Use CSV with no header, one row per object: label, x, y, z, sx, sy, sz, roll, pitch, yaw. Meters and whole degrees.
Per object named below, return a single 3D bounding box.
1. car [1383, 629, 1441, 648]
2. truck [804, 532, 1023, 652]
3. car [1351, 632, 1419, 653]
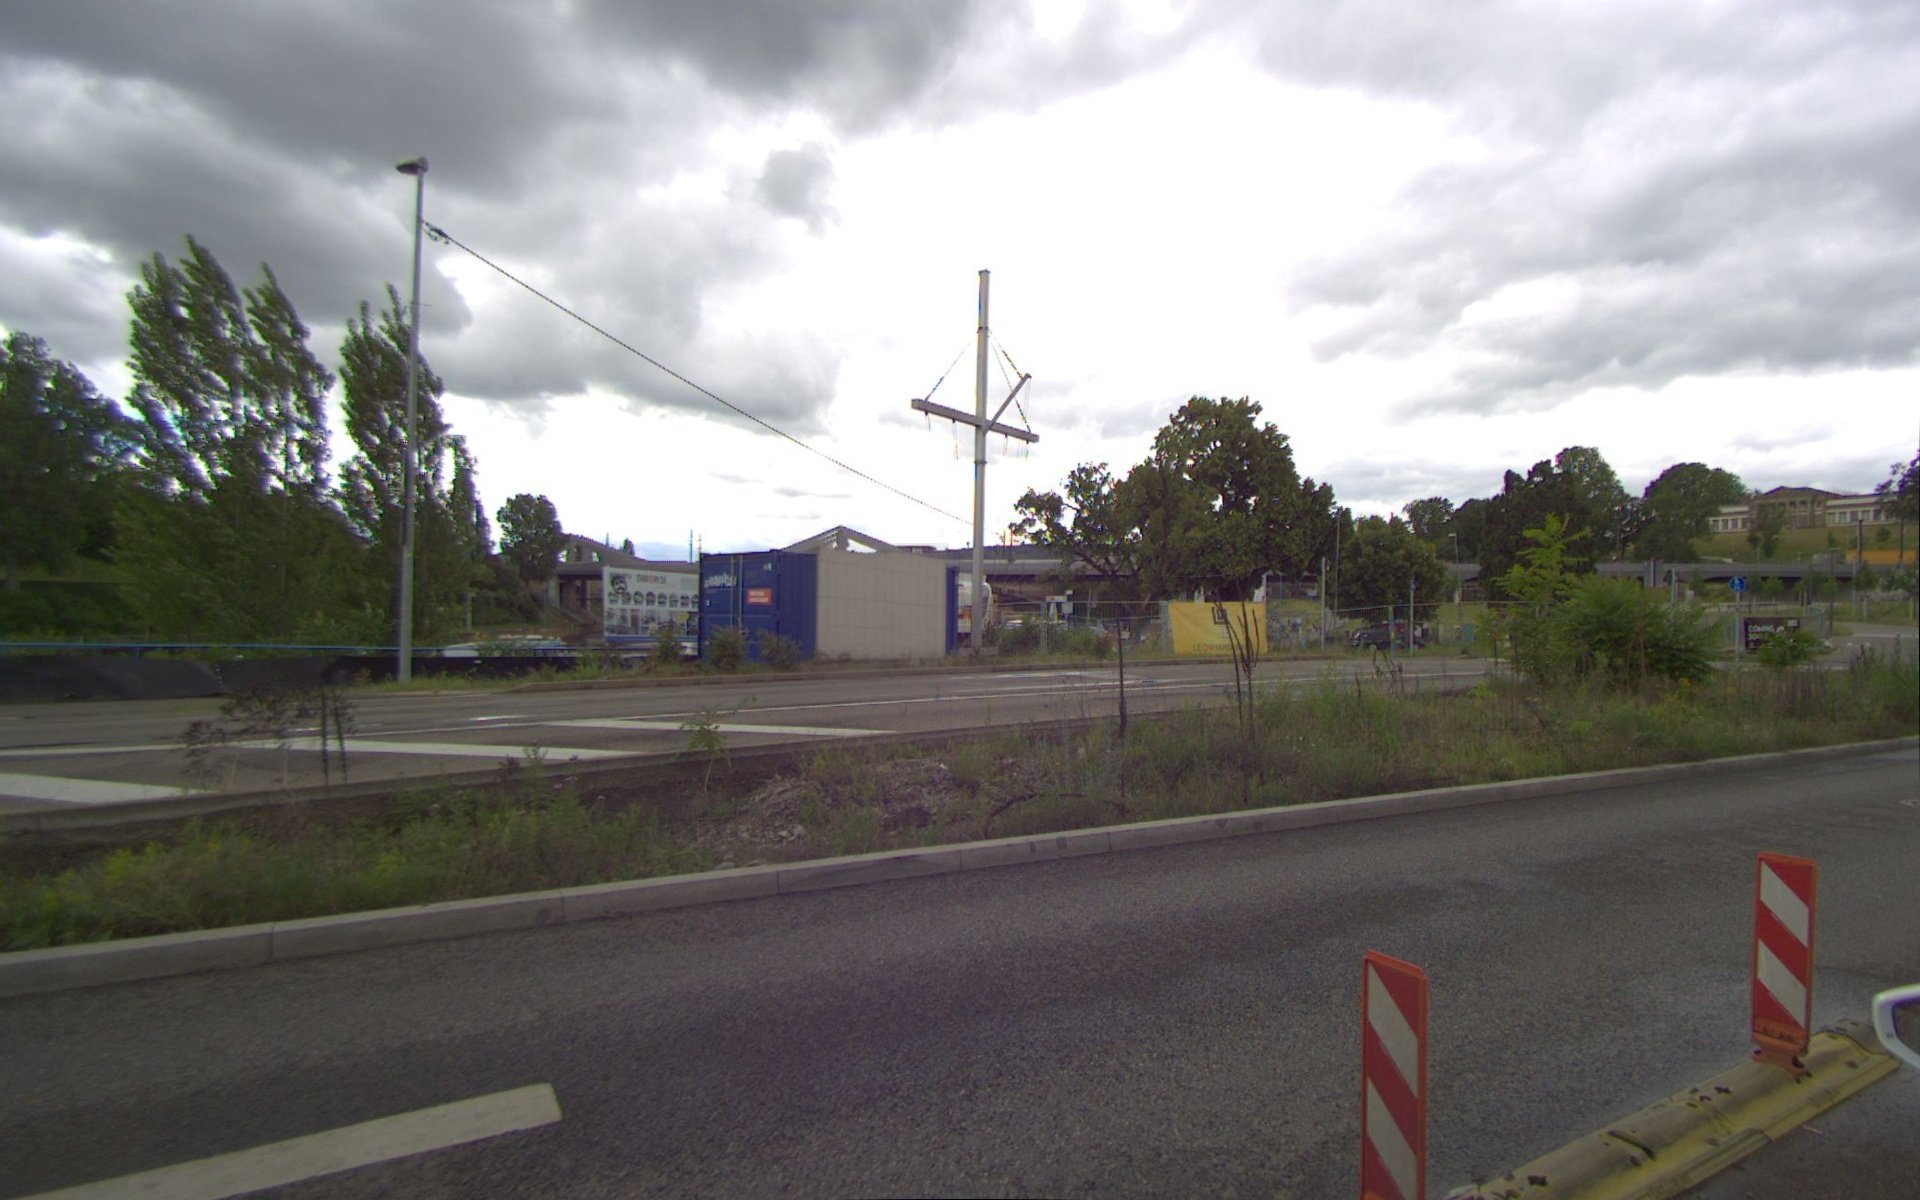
car,32.022,2.721,71.211,3.436,1.308,1.603,0,-1,8
truck,-1.205,-0.162,32.489,2.753,3.380,8.457,-1,-1,32
car,28.268,2.803,66.935,3.842,1.308,1.805,0,-1,7
